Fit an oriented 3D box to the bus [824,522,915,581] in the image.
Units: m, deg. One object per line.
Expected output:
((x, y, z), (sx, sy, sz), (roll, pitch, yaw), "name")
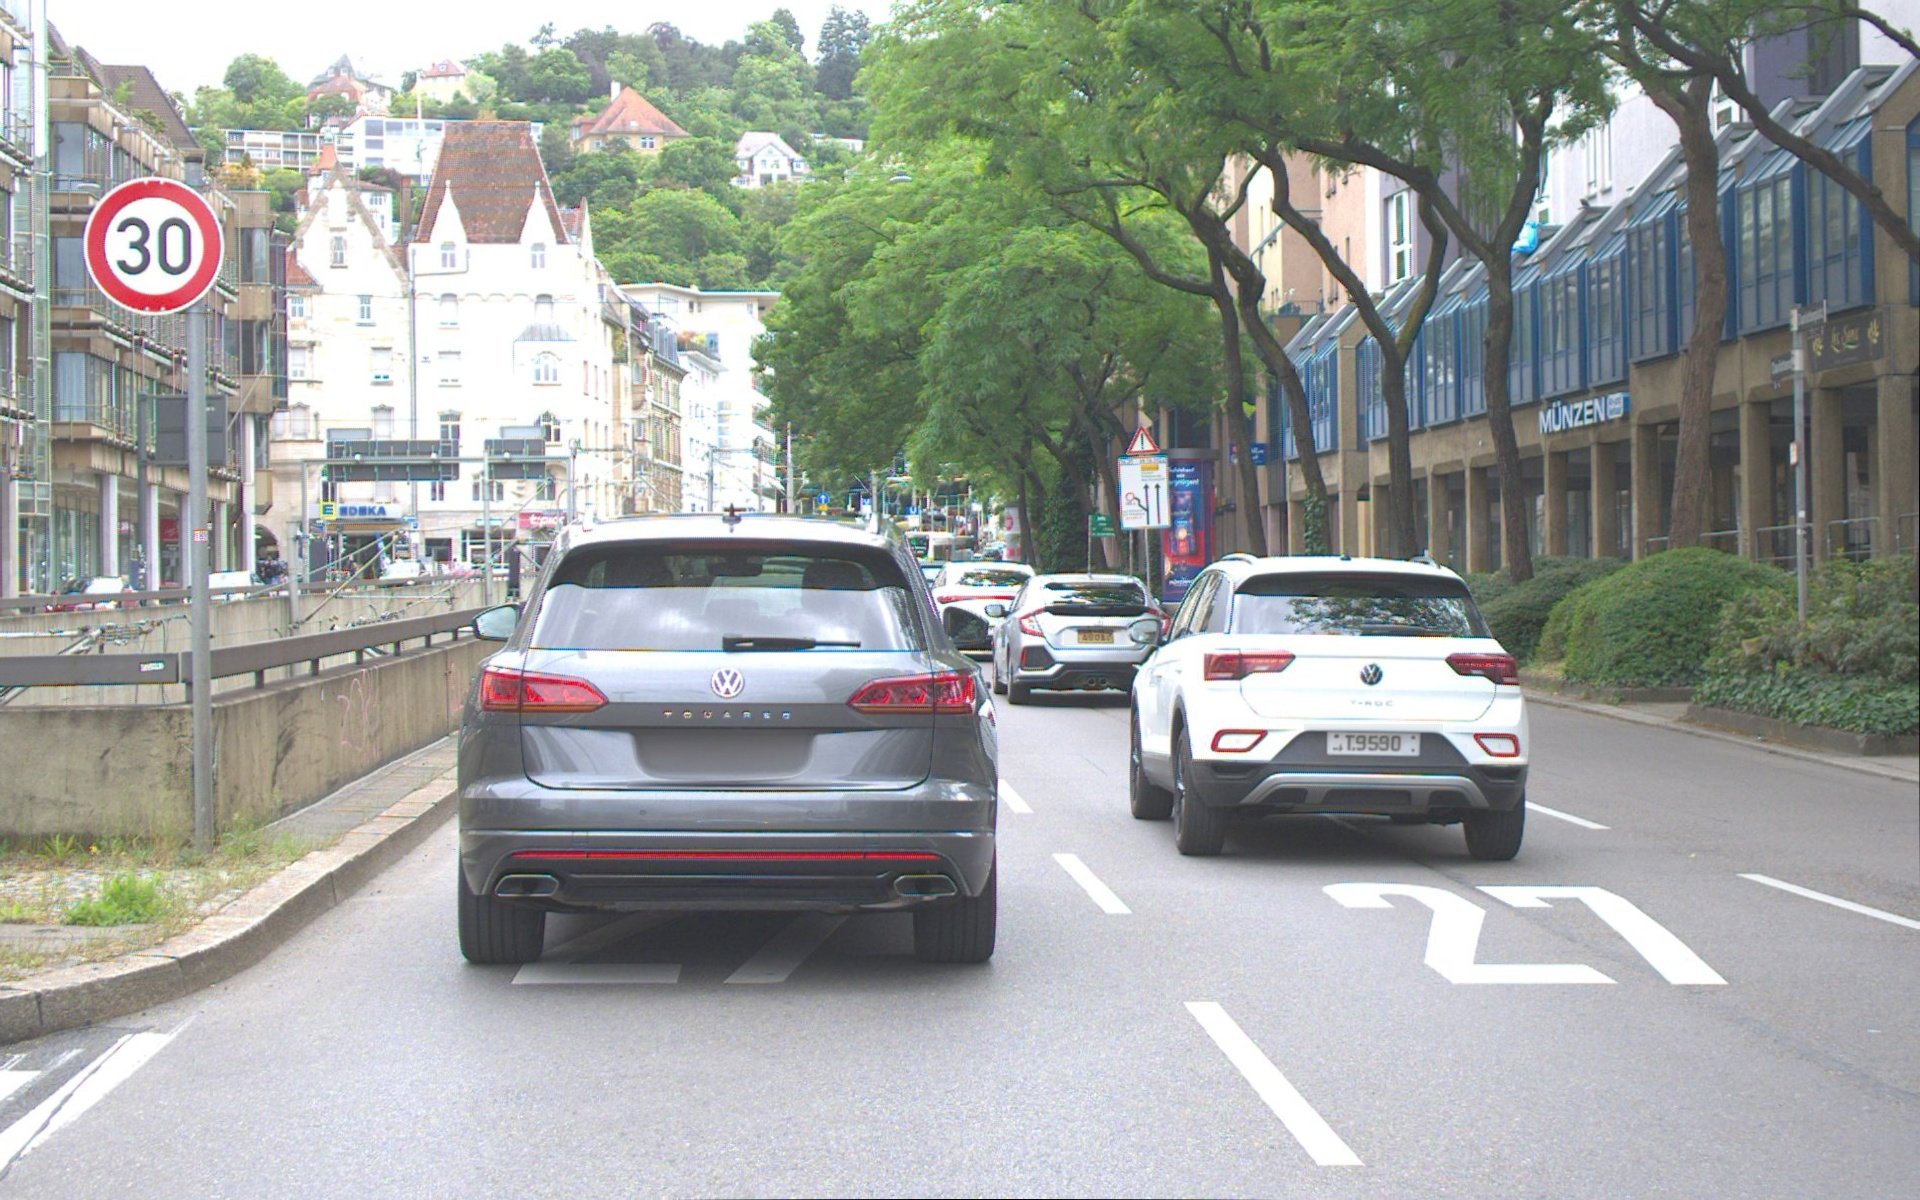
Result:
((-5.644, -3.086, 218.586), (3.850, 3.520, 17.242), (-1, 1, 5), "bus")

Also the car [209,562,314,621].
((-19.791, -0.267, 97.558), (1.993, 1.580, 4.887), (-1, 1, 0), "car")

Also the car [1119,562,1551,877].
((1.936, 0.575, 18.861), (1.797, 1.540, 3.936), (0, 0, -2), "car")

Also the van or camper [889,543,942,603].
((-2.430, -1.487, 186.703), (2.627, 3.168, 5.804), (-1, 1, -3), "van or camper")

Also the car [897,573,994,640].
((-0.333, 0.122, 74.255), (1.832, 1.358, 3.768), (-2, 1, -4), "car")

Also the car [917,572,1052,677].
((0.343, 0.339, 52.360), (1.832, 1.512, 3.767), (-1, 0, -3), "car")

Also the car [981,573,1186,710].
((1.314, 0.415, 38.238), (1.833, 1.427, 4.148), (0, 1, -4), "car")

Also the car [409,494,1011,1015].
((-0.943, 0.487, 13.694), (1.970, 1.690, 4.225), (-2, 1, -3), "car")

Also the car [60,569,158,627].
((-23.072, -0.075, 93.356), (1.993, 1.459, 4.887), (-1, 1, -7), "car")

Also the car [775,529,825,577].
((-6.468, -1.893, 139.336), (1.832, 1.868, 4.871), (-2, 1, -1), "car")

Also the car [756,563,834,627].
((-4.264, -0.142, 88.333), (1.832, 1.561, 3.768), (-2, 1, -5), "car")
